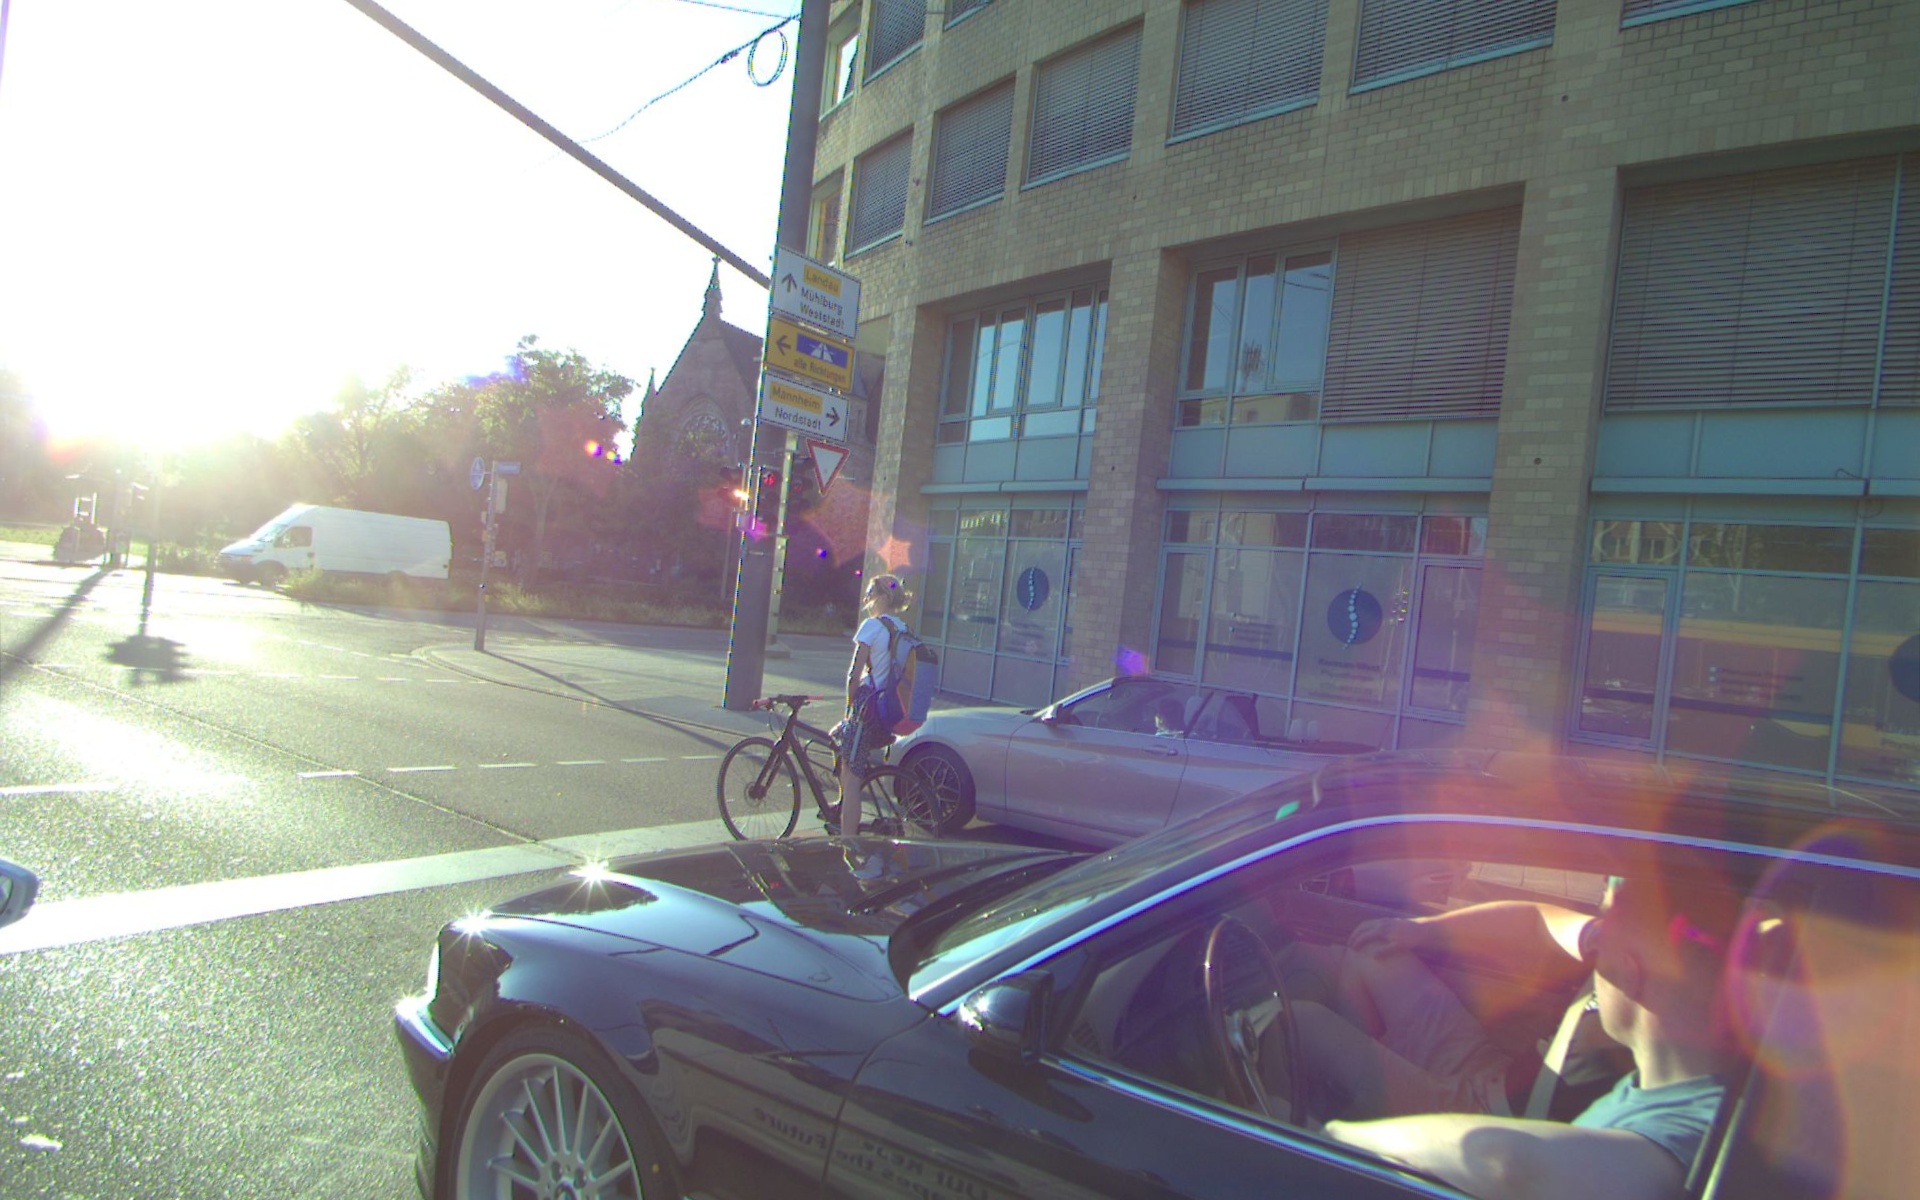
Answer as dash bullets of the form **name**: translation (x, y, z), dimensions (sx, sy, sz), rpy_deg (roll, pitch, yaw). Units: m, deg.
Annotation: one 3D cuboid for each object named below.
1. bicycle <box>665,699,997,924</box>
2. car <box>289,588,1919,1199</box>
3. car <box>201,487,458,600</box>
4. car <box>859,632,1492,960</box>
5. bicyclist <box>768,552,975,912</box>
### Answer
- **bicycle**: translation (-0.782, 1.151, 5.866), dimensions (1.838, 0.884, 0.634), rpy_deg (6, 0, 30)
- **car**: translation (1.056, 0.971, 1.873), dimensions (4.661, 1.401, 1.997), rpy_deg (6, -2, 32)
- **car**: translation (-21.152, -1.776, 34.243), dimensions (2.059, 2.862, 7.018), rpy_deg (6, -1, 33)
- **car**: translation (1.501, 1.221, 7.494), dimensions (4.157, 1.401, 1.747), rpy_deg (6, -2, 31)
- **bicyclist**: translation (-0.495, 0.704, 5.714), dimensions (0.764, 1.843, 0.634), rpy_deg (6, 0, 30)
